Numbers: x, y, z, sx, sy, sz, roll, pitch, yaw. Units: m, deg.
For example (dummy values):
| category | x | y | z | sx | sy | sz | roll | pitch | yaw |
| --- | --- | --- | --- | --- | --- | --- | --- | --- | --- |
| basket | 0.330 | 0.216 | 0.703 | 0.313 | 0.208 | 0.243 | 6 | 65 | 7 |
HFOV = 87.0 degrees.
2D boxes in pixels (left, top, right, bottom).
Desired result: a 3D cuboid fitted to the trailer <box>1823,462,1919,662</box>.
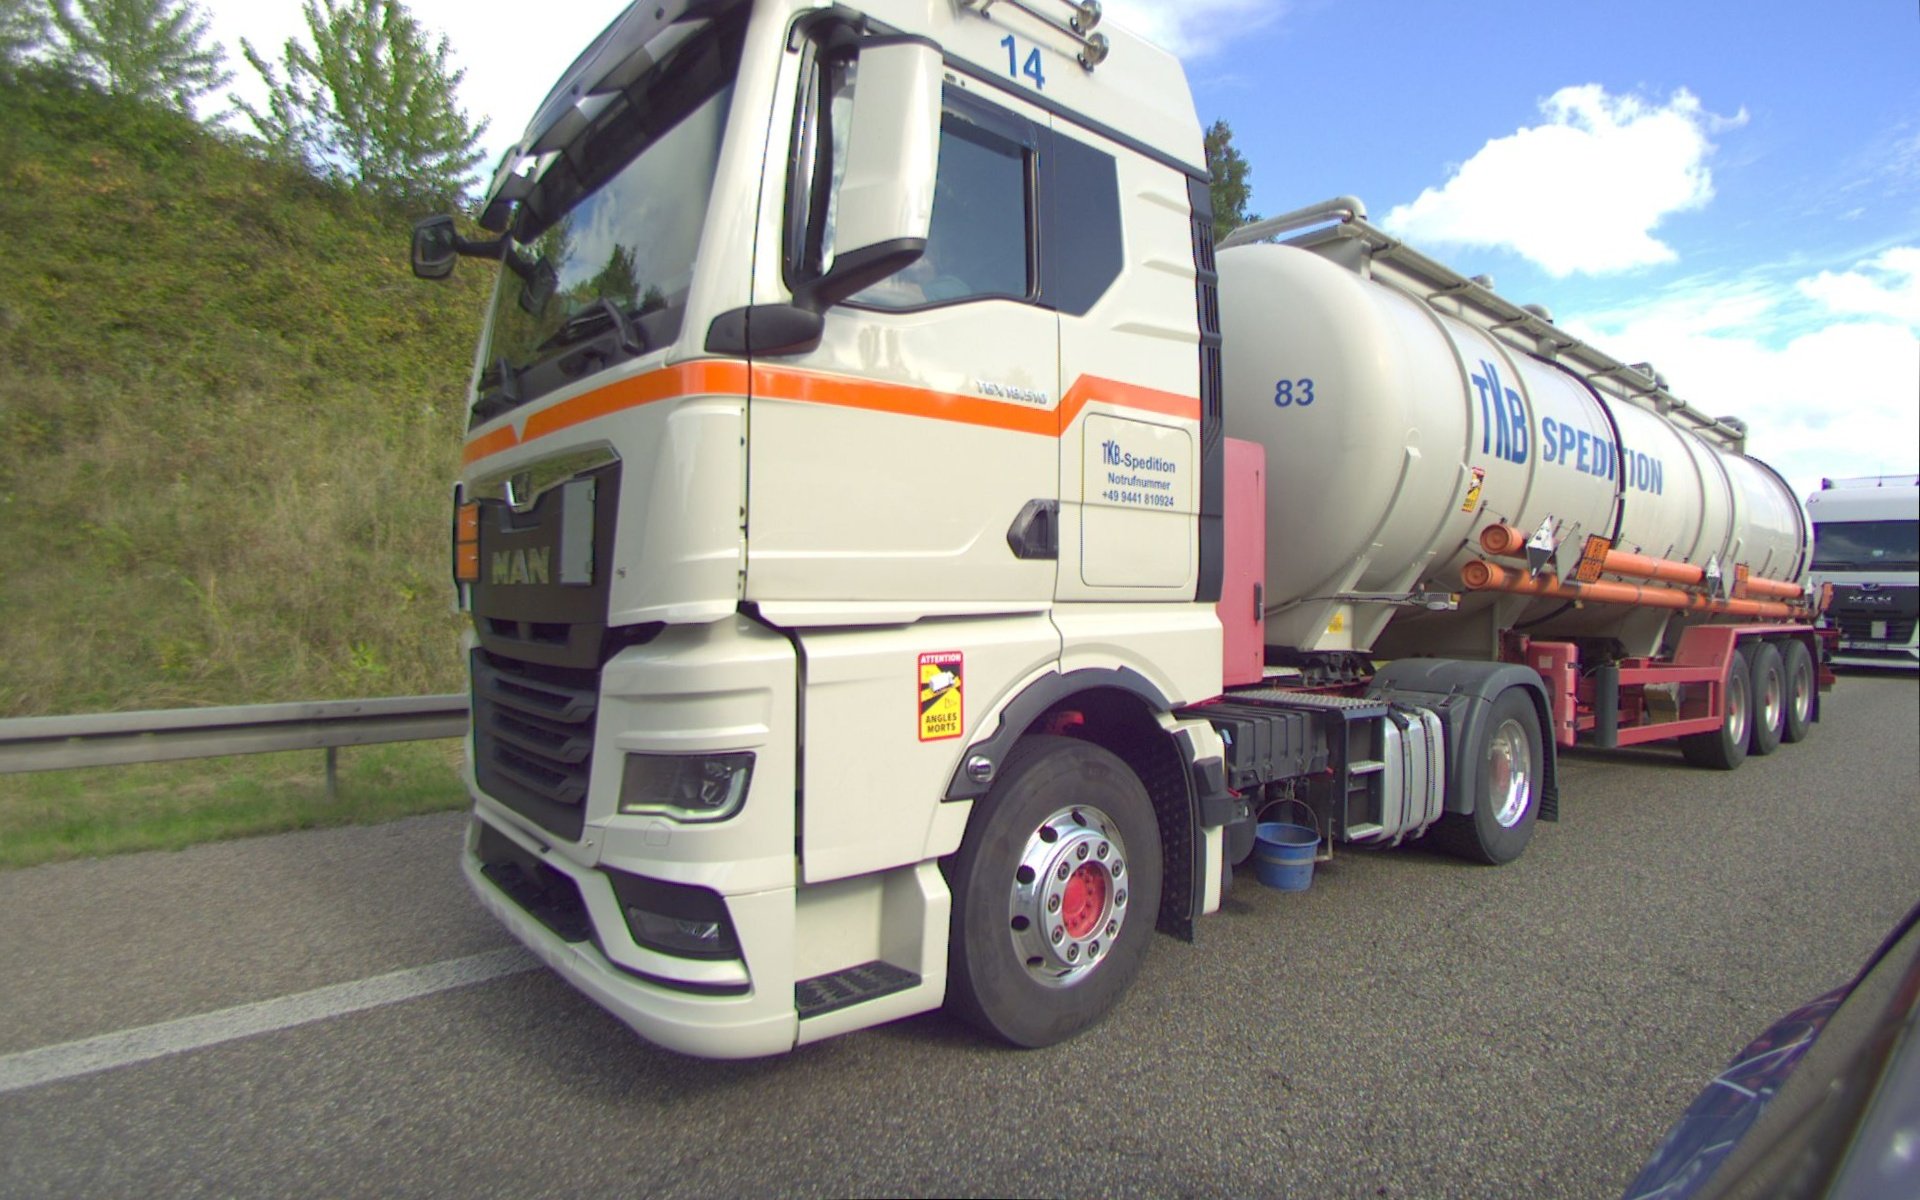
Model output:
| category | x | y | z | sx | sy | sz | roll | pitch | yaw |
| --- | --- | --- | --- | --- | --- | --- | --- | --- | --- |
| trailer | 24.739 | -0.824 | 25.106 | 13.132 | 4.122 | 2.832 | 0 | 1 | -40 |

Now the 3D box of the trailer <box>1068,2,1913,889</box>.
| category | x | y | z | sx | sy | sz | roll | pitch | yaw |
| --- | --- | --- | --- | --- | --- | --- | --- | --- | --- |
| trailer | 5.846 | -0.762 | 9.245 | 10.982 | 4.077 | 2.804 | 0 | 1 | -40 |

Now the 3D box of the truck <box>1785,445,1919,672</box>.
| category | x | y | z | sx | sy | sz | roll | pitch | yaw |
| --- | --- | --- | --- | --- | --- | --- | --- | --- | --- |
| truck | 19.271 | -0.785 | 20.578 | 5.605 | 4.122 | 2.840 | 0 | 1 | -39 |

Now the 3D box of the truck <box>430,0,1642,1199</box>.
| category | x | y | z | sx | sy | sz | roll | pitch | yaw |
| --- | --- | --- | --- | --- | --- | --- | --- | --- | --- |
| truck | 0.830 | -0.710 | 5.112 | 5.798 | 4.094 | 2.809 | 0 | 1 | -39 |
